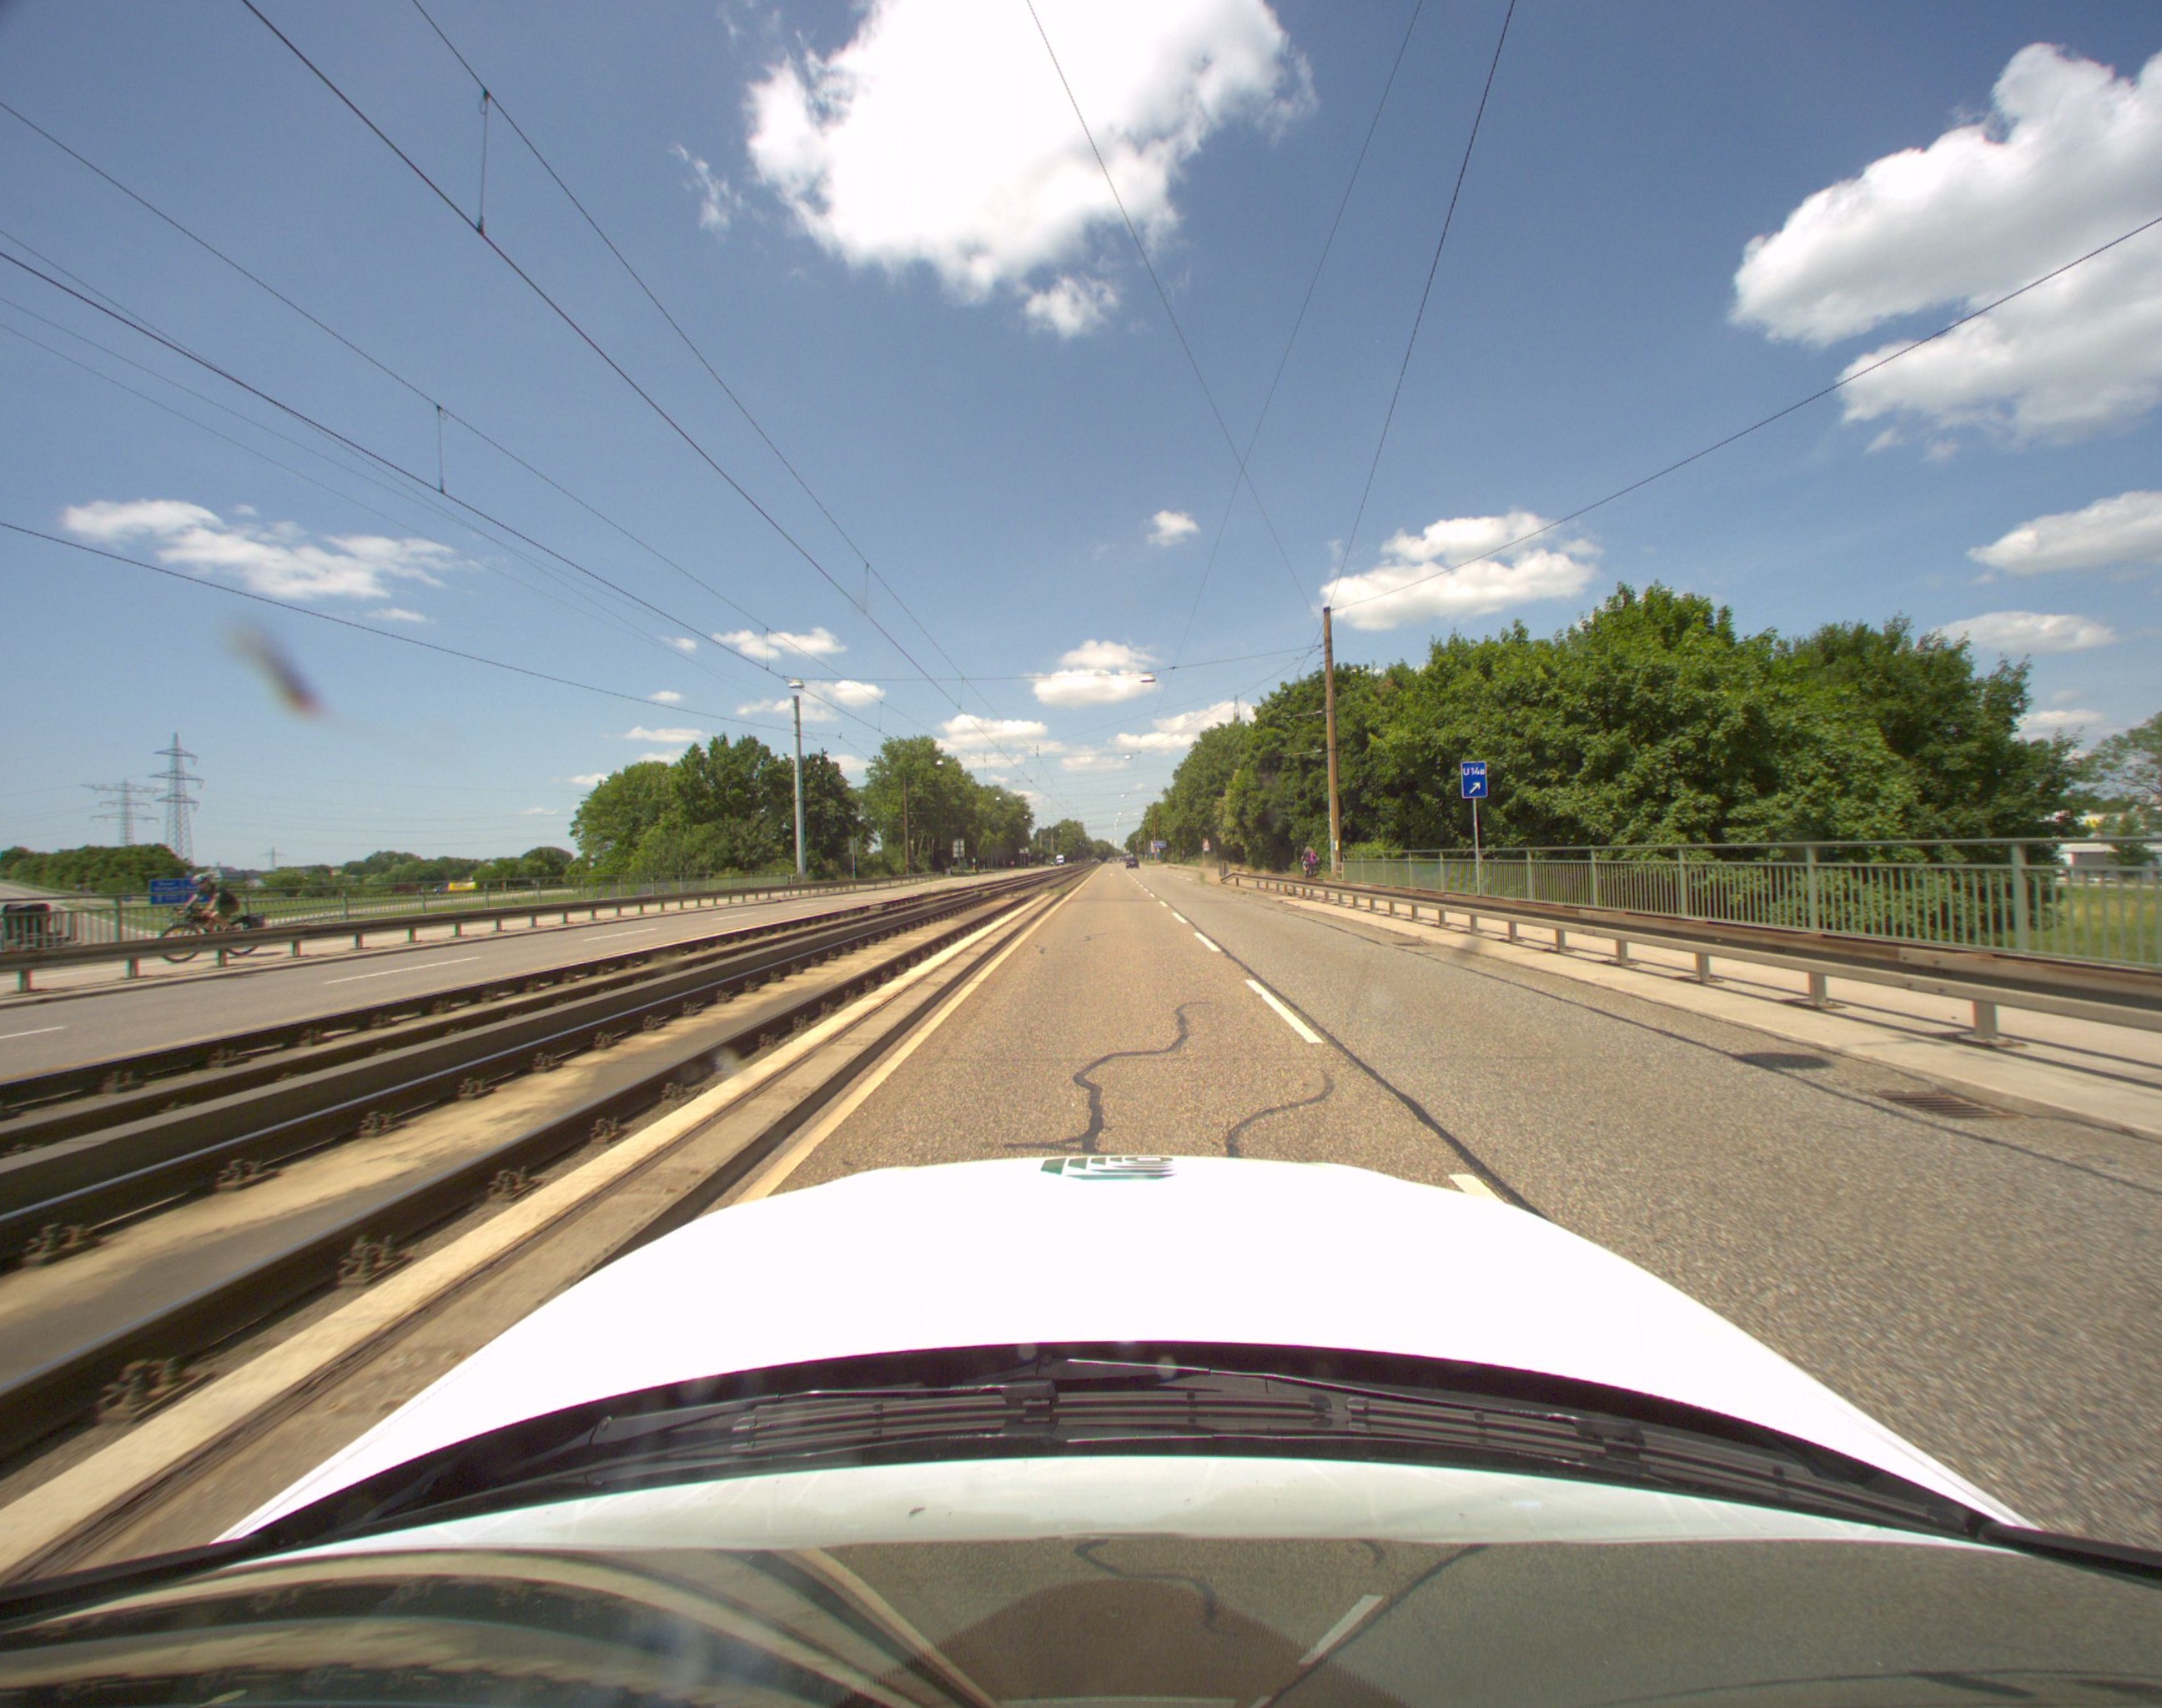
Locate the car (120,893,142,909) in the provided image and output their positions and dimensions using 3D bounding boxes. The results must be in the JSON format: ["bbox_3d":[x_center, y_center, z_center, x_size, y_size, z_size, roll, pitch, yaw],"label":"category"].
[{"bbox_3d":[-120.633,5.941,103.439,3.950,1.642,1.751,4,1,41],"label":"car"}]

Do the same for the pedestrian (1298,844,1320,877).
[{"bbox_3d":[9.818,0.289,35.078,0.625,1.374,1.051,-2,-1,2],"label":"pedestrian"}]

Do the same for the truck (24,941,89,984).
[{"bbox_3d":[-78.094,8.171,62.088,6.368,2.209,2.911,4,1,38],"label":"truck"}]

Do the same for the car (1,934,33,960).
[{"bbox_3d":[-87.277,7.626,66.827,3.413,1.642,1.479,4,1,38],"label":"car"}]

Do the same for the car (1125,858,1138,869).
[{"bbox_3d":[7.017,1.302,112.522,1.580,1.343,3.272,-2,0,1],"label":"car"}]

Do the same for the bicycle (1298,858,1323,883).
[{"bbox_3d":[9.850,0.680,35.012,0.557,1.024,1.849,-2,-1,2],"label":"bicycle"}]

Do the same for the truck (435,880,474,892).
[{"bbox_3d":[-104.879,5.409,136.432,4.809,1.768,1.936,-1,1,-24],"label":"truck"}]

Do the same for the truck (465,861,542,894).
[{"bbox_3d":[-103.051,4.168,145.519,10.846,5.636,3.263,1,1,-31],"label":"truck"}]

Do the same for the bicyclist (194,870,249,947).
[{"bbox_3d":[-17.214,1.085,16.315,0.519,1.497,0.530,-1,0,1],"label":"bicyclist"}]

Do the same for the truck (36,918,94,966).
[{"bbox_3d":[-89.335,7.644,71.581,6.501,3.452,2.808,2,-1,36],"label":"truck"}]

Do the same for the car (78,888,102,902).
[{"bbox_3d":[-145.391,6.025,119.485,3.949,1.642,1.751,3,1,32],"label":"car"}]

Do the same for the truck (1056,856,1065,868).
[{"bbox_3d":[-5.497,2.082,217.928,2.046,2.939,6.322,-3,0,2],"label":"truck"}]

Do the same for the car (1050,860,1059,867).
[{"bbox_3d":[-6.359,2.236,194.050,1.811,1.514,4.430,-3,0,2],"label":"car"}]

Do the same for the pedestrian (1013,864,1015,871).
[{"bbox_3d":[-14.349,2.859,174.635,0.512,1.551,0.703,-3,-1,-4],"label":"pedestrian"}]

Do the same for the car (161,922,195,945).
[{"bbox_3d":[-95.926,8.436,86.494,3.949,2.014,2.012,2,-1,37],"label":"car"}]

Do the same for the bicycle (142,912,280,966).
[{"bbox_3d":[-17.217,1.654,16.200,0.520,0.843,2.037,0,0,2],"label":"bicycle"}]
